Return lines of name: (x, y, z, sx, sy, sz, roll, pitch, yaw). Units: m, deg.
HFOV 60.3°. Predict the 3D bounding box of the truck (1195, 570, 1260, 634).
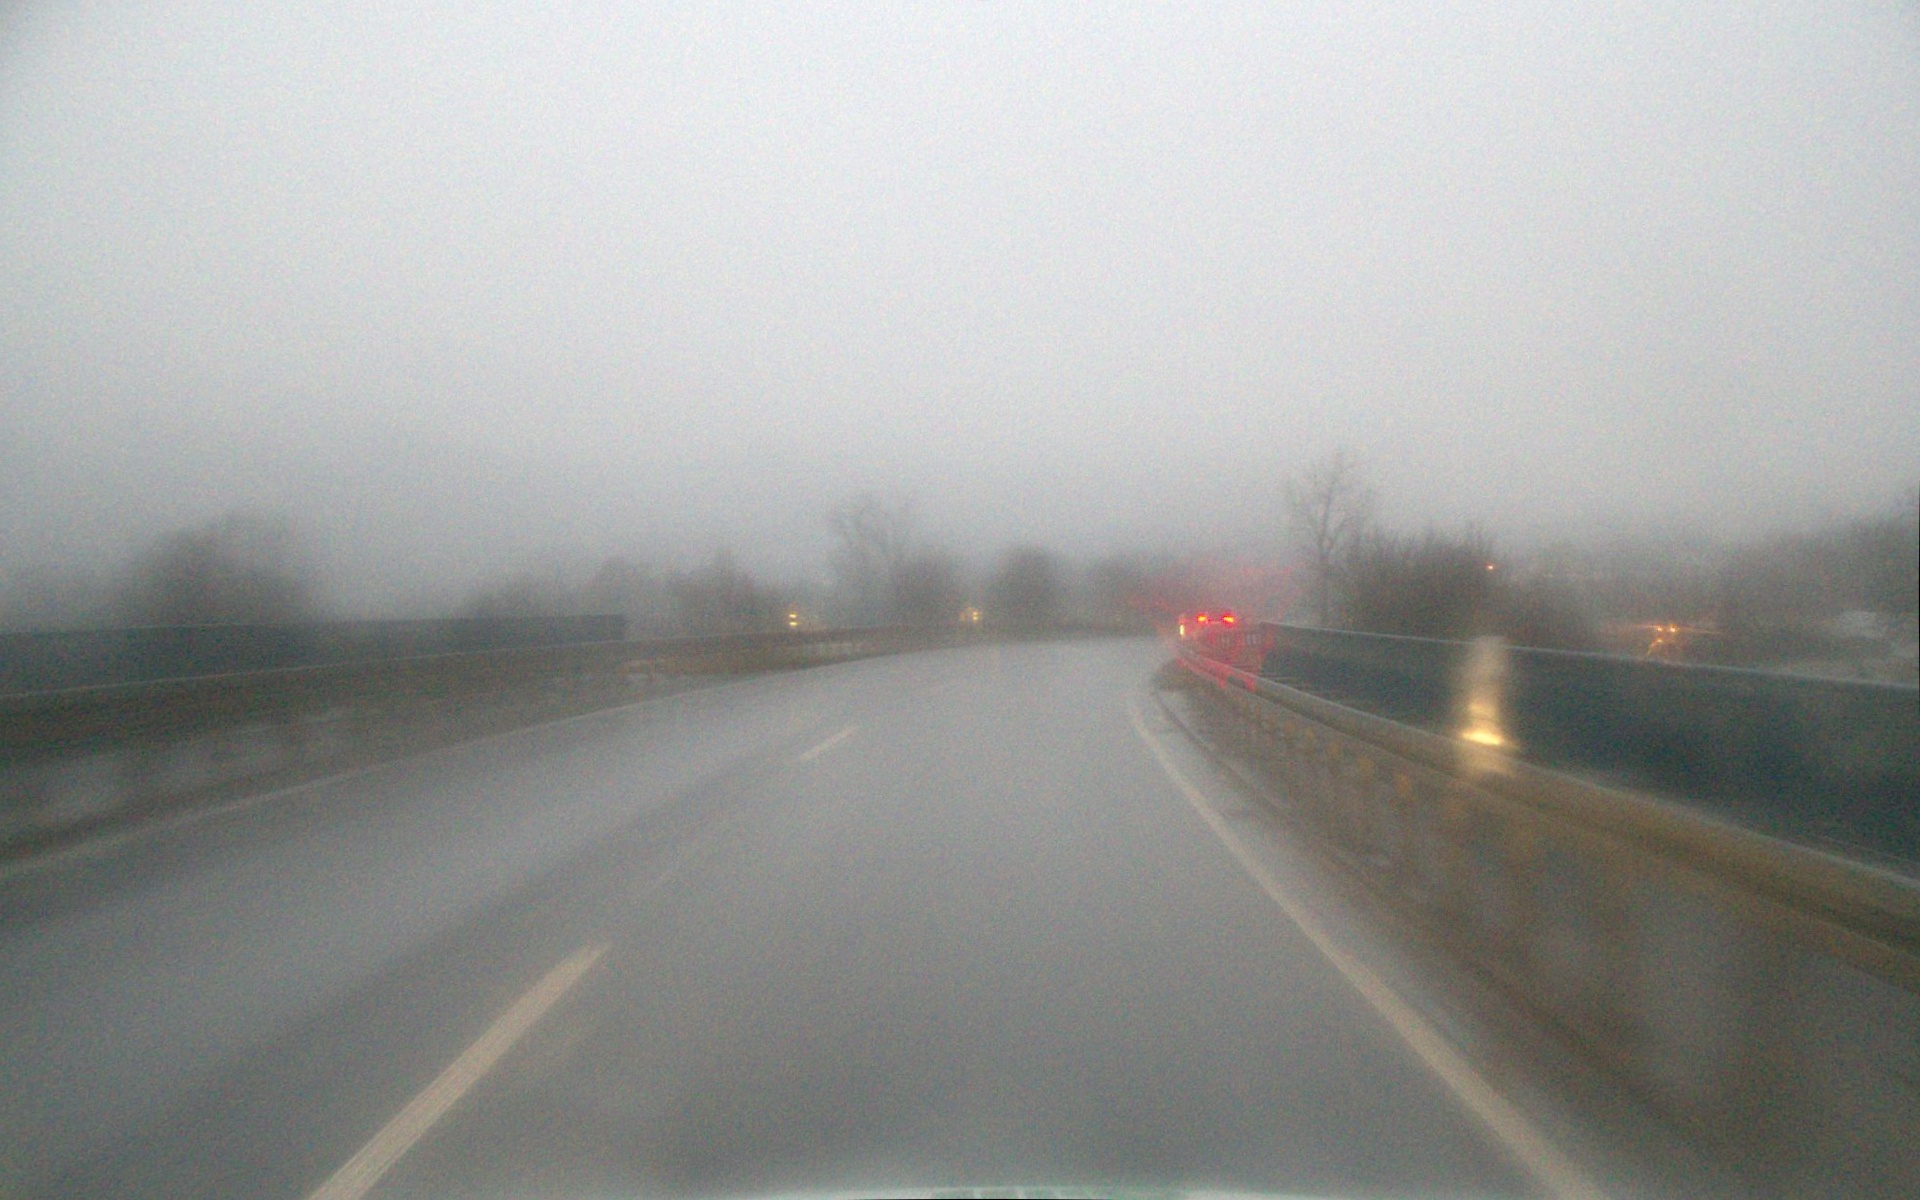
truck: (12.826, 0.104, 79.012, 2.478, 2.919, 5.926, 1, 0, 15)
